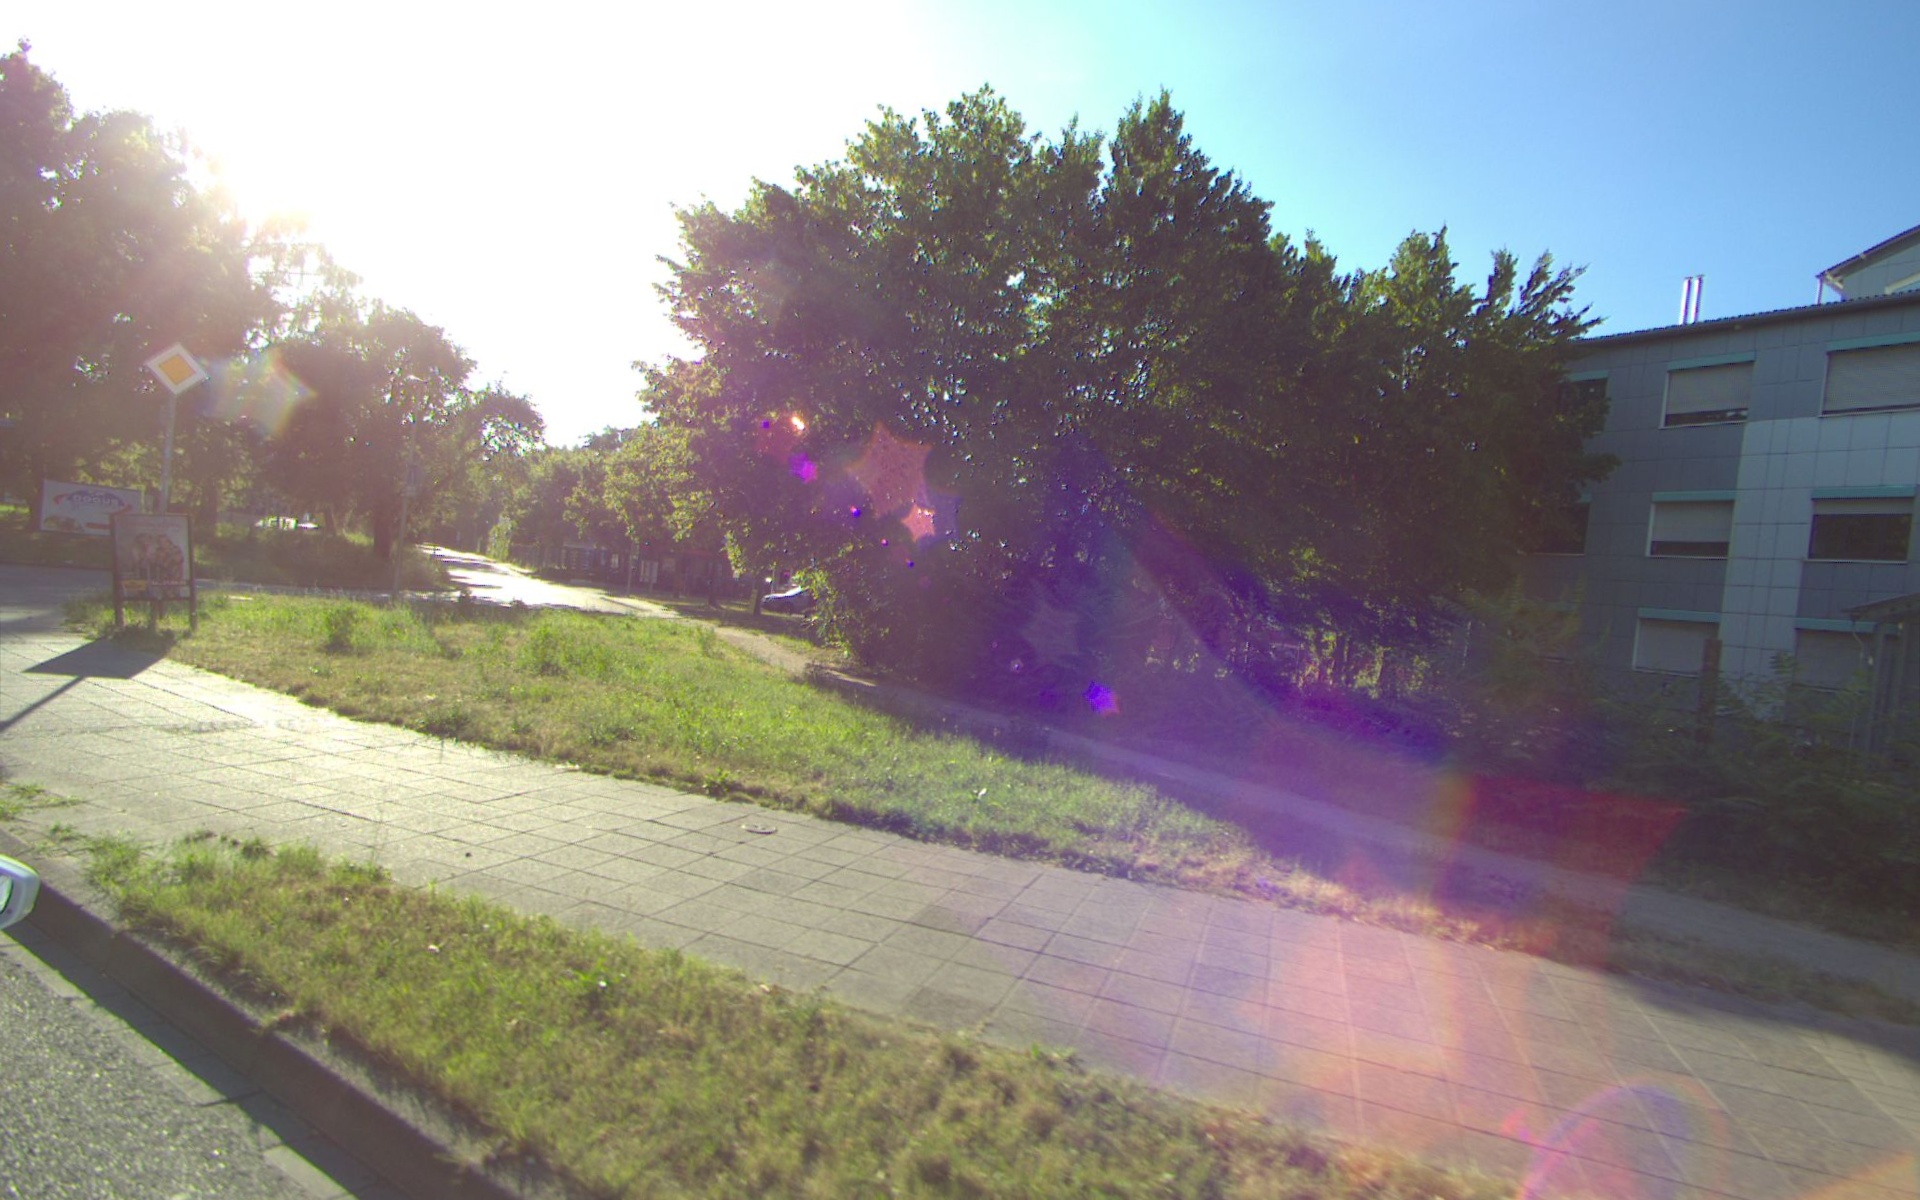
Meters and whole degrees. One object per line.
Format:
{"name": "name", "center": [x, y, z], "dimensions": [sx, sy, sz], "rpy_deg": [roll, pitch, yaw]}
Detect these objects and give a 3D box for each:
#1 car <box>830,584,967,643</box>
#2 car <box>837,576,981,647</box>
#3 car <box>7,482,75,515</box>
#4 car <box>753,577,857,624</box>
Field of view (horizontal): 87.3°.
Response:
{"name": "car", "center": [-2.250, 0.509, 37.139], "dimensions": [4.620, 1.493, 1.775], "rpy_deg": [9, -2, -31]}
{"name": "car", "center": [-1.673, 0.401, 33.588], "dimensions": [4.397, 1.841, 1.693], "rpy_deg": [6, 0, -31]}
{"name": "car", "center": [-62.480, -6.918, 68.359], "dimensions": [4.319, 1.750, 1.816], "rpy_deg": [6, 1, 25]}
{"name": "car", "center": [-6.977, 0.013, 45.268], "dimensions": [4.151, 1.493, 1.776], "rpy_deg": [9, -1, -29]}
